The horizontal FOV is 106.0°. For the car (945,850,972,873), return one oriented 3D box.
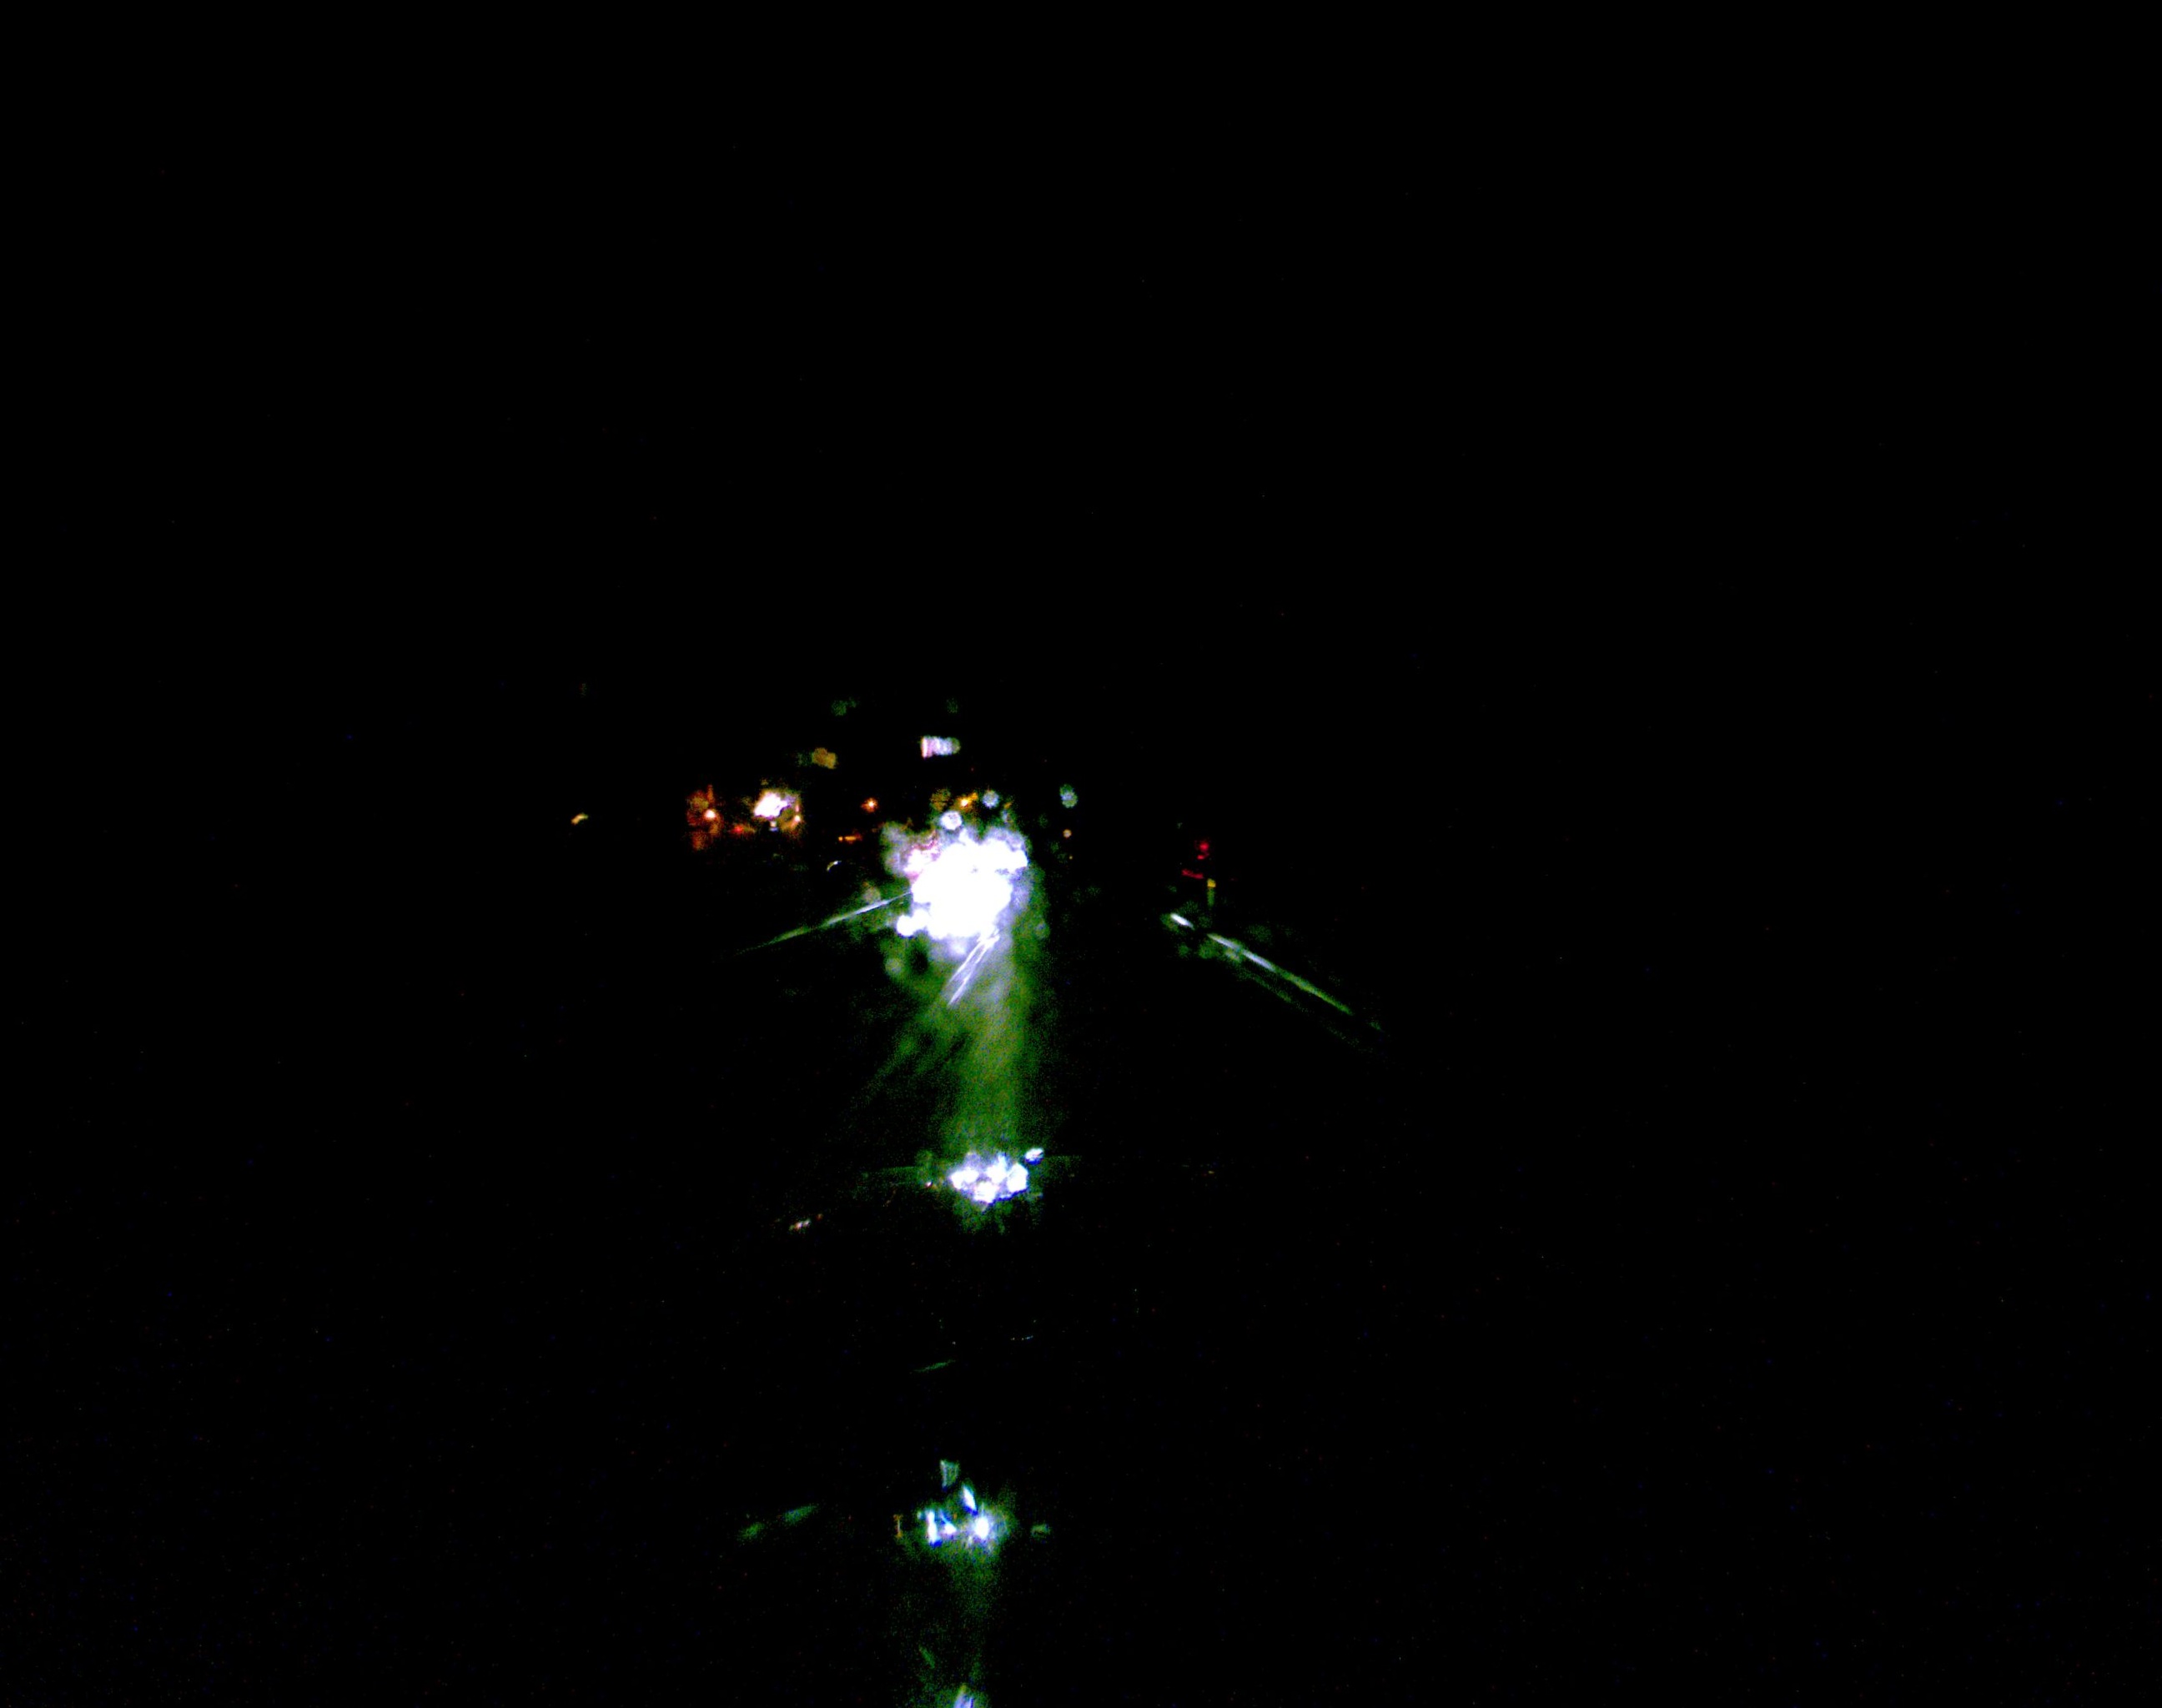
[{"bbox_3d":[-8.400,0.475,55.689,1.712,1.476,3.856,0,1,-10],"label":"car"}]

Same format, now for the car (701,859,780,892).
[{"bbox_3d":[-17.265,1.060,41.511,1.678,1.398,4.161,-3,1,9],"label":"car"}]

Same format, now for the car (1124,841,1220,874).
[{"bbox_3d":[4.805,0.204,43.358,4.713,1.691,1.973,-1,-1,37],"label":"car"}]

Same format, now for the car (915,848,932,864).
[{"bbox_3d":[-16.864,0.190,86.957,1.697,1.599,3.786,-1,1,-12],"label":"car"}]

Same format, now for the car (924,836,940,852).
[{"bbox_3d":[-20.007,-1.349,109.262,1.996,2.014,3.982,0,-1,-13],"label":"car"}]

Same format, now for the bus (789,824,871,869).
[{"bbox_3d":[-23.602,-0.690,75.814,2.916,3.868,12.912,-1,1,-37],"label":"bus"}]

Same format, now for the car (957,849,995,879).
[{"bbox_3d":[-5.649,0.541,43.850,1.954,1.522,4.387,0,-1,-8],"label":"car"}]

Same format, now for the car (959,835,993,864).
[{"bbox_3d":[-10.399,-0.518,80.538,2.543,2.497,5.687,-1,4,-15],"label":"car"}]
